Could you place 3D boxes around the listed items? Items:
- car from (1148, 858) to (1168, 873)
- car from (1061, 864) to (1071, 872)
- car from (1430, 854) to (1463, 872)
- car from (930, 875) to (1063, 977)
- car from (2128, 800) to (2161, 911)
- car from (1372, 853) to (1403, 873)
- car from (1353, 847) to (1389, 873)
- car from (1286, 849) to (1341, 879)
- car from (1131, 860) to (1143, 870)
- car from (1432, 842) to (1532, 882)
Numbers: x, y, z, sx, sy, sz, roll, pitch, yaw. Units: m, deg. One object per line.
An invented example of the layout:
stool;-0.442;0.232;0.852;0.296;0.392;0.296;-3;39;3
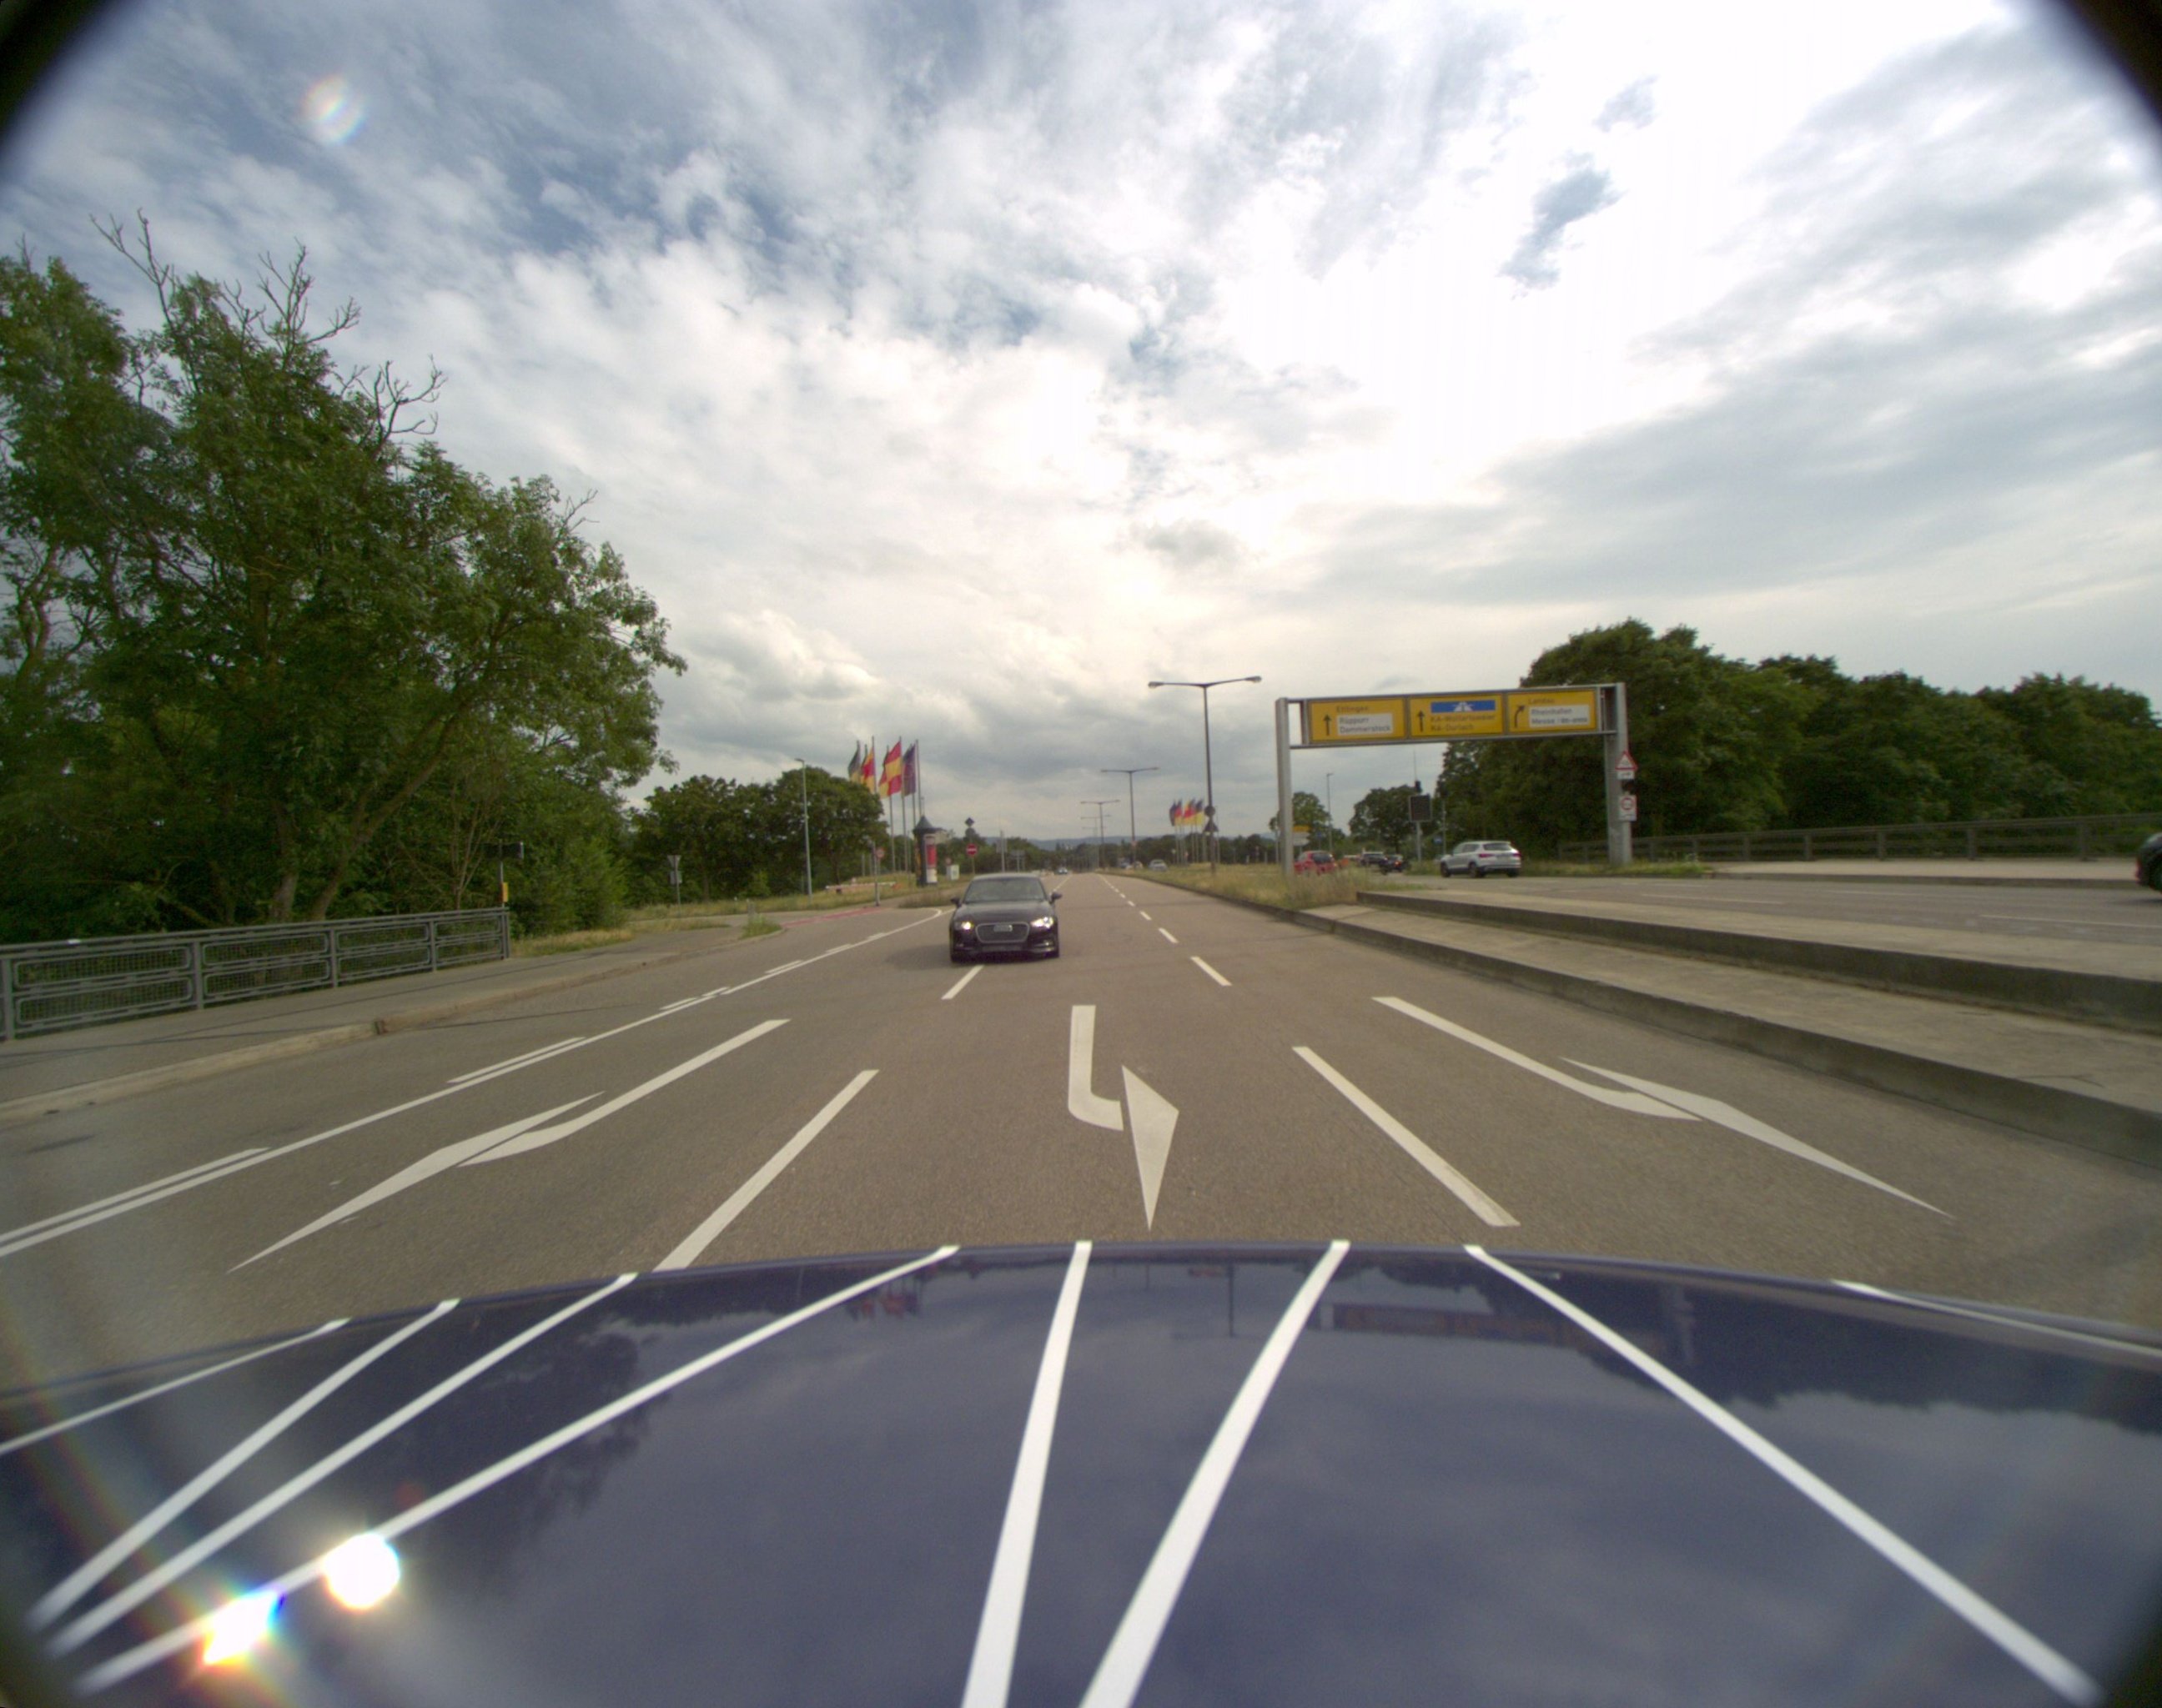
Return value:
car;8.878;1.353;87.916;1.776;1.597;3.877;-2;-1;-2
car;-3.394;3.155;168.636;1.998;1.518;4.000;-5;0;1
car;34.065;0.847;70.795;1.818;1.598;3.906;2;0;39
car;-1.309;1.137;13.651;1.852;1.355;4.730;-2;-1;0
car;16.841;-0.002;9.251;1.892;1.630;4.545;-3;0;-1
car;25.225;0.736;62.357;1.888;1.518;4.678;1;-1;27
car;19.729;0.465;51.841;1.889;1.597;4.766;-3;-2;16
car;13.176;0.542;43.254;1.727;1.523;3.916;-3;1;-2
car;9.972;1.915;136.052;1.776;1.598;3.876;-2;1;-2
car;17.064;0.288;32.621;1.892;1.523;4.452;-3;0;0
